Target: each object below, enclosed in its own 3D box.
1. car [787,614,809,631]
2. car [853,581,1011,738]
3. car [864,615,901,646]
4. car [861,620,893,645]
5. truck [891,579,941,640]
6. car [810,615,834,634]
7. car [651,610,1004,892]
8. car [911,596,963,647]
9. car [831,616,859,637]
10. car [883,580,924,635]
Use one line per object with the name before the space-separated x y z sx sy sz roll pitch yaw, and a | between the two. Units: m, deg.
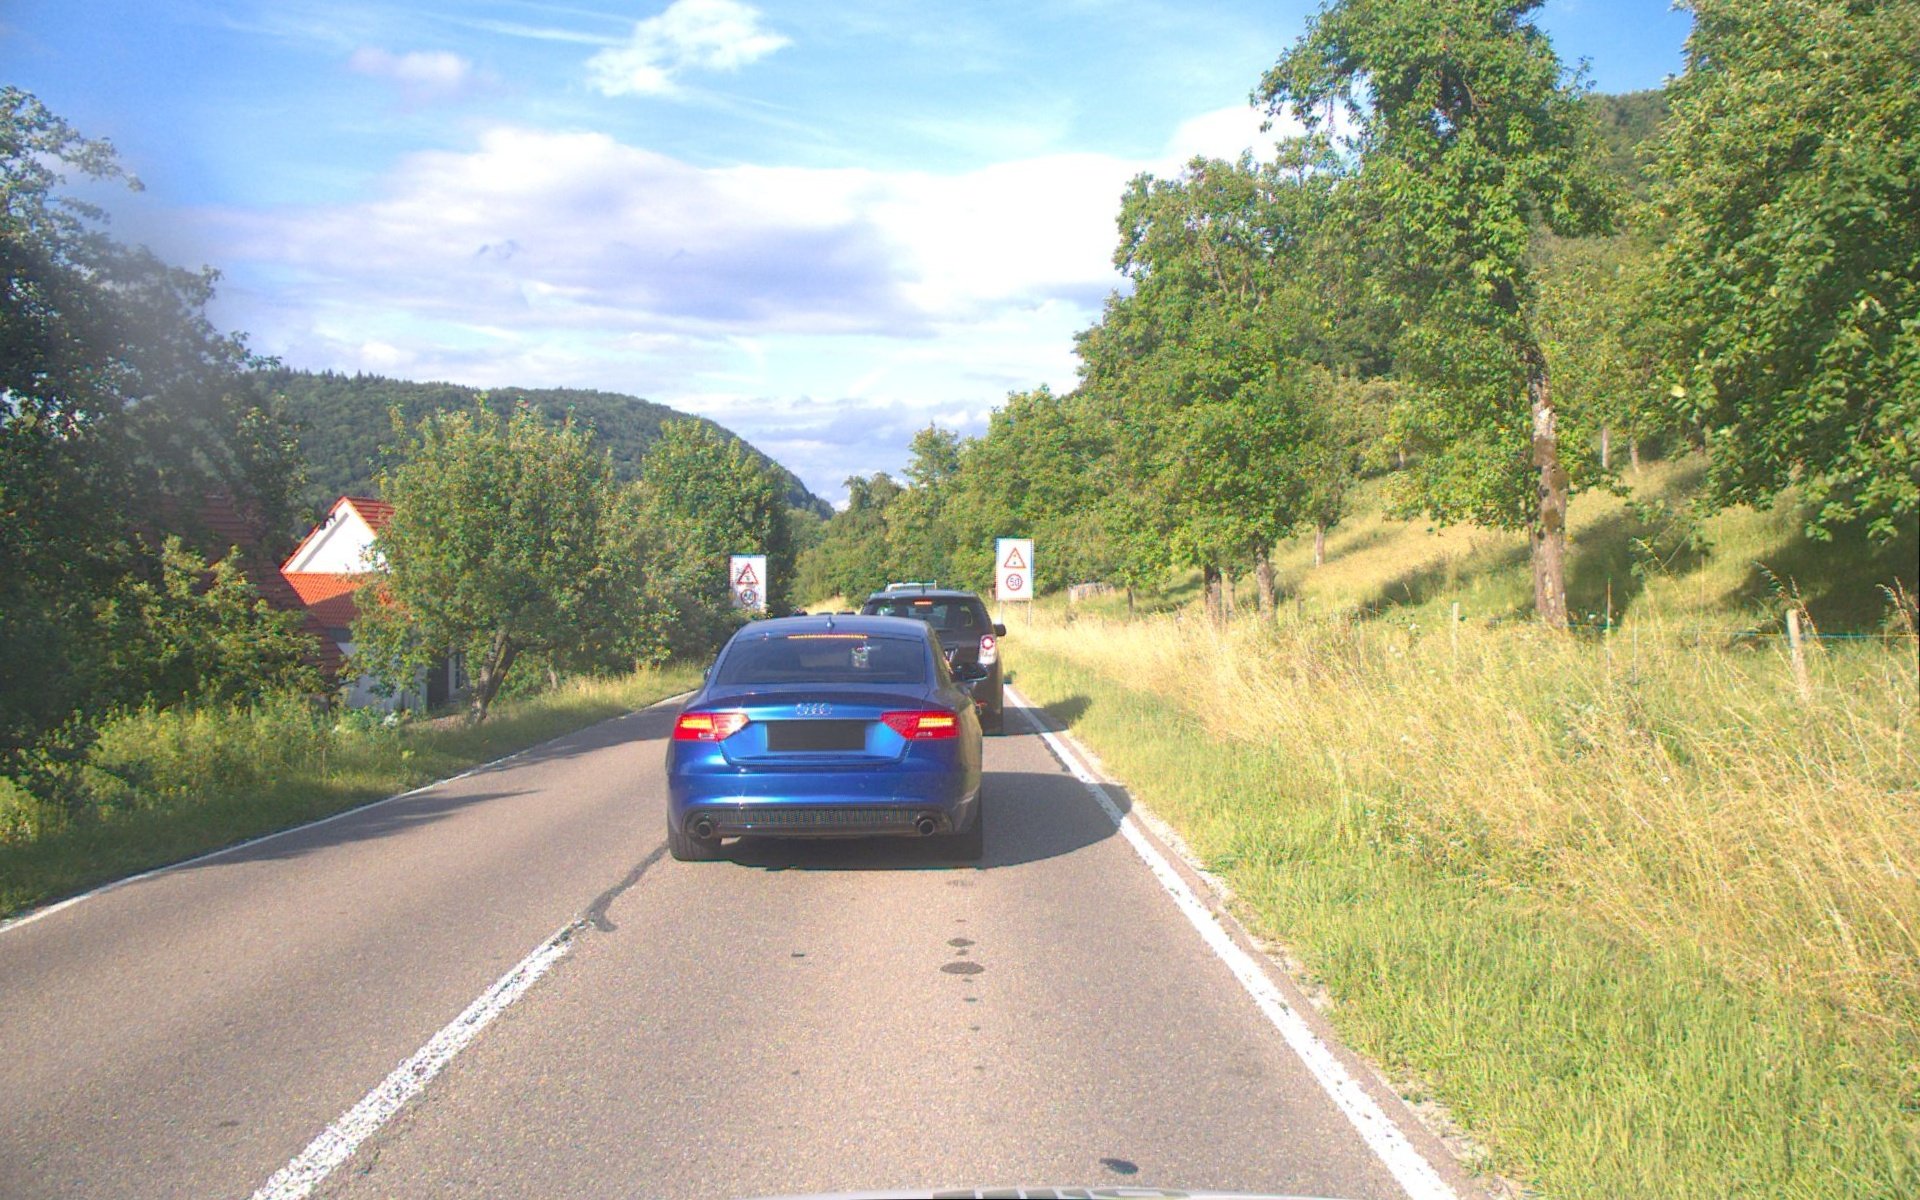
car | -15.639 2.134 159.381 1.532 1.522 3.765 2 0 -13
car | -0.332 0.625 19.416 1.658 1.652 3.788 1 0 -1
car | -4.225 1.648 89.549 1.715 1.522 3.772 2 0 -7
car | -5.553 2.145 110.511 1.716 1.522 3.770 2 0 -9
truck | -1.830 0.374 68.617 1.911 2.386 5.092 2 0 -2
car | -11.901 2.092 142.731 1.531 1.522 3.766 2 0 -12
car | -0.693 0.773 10.432 1.769 1.406 4.214 0 0 -1
car | -0.790 0.692 55.668 1.658 1.652 3.788 1 0 -1
car | -9.031 2.035 129.662 1.717 1.522 3.767 2 0 -12
car | -2.691 0.338 78.337 1.757 2.496 3.916 2 0 -4
